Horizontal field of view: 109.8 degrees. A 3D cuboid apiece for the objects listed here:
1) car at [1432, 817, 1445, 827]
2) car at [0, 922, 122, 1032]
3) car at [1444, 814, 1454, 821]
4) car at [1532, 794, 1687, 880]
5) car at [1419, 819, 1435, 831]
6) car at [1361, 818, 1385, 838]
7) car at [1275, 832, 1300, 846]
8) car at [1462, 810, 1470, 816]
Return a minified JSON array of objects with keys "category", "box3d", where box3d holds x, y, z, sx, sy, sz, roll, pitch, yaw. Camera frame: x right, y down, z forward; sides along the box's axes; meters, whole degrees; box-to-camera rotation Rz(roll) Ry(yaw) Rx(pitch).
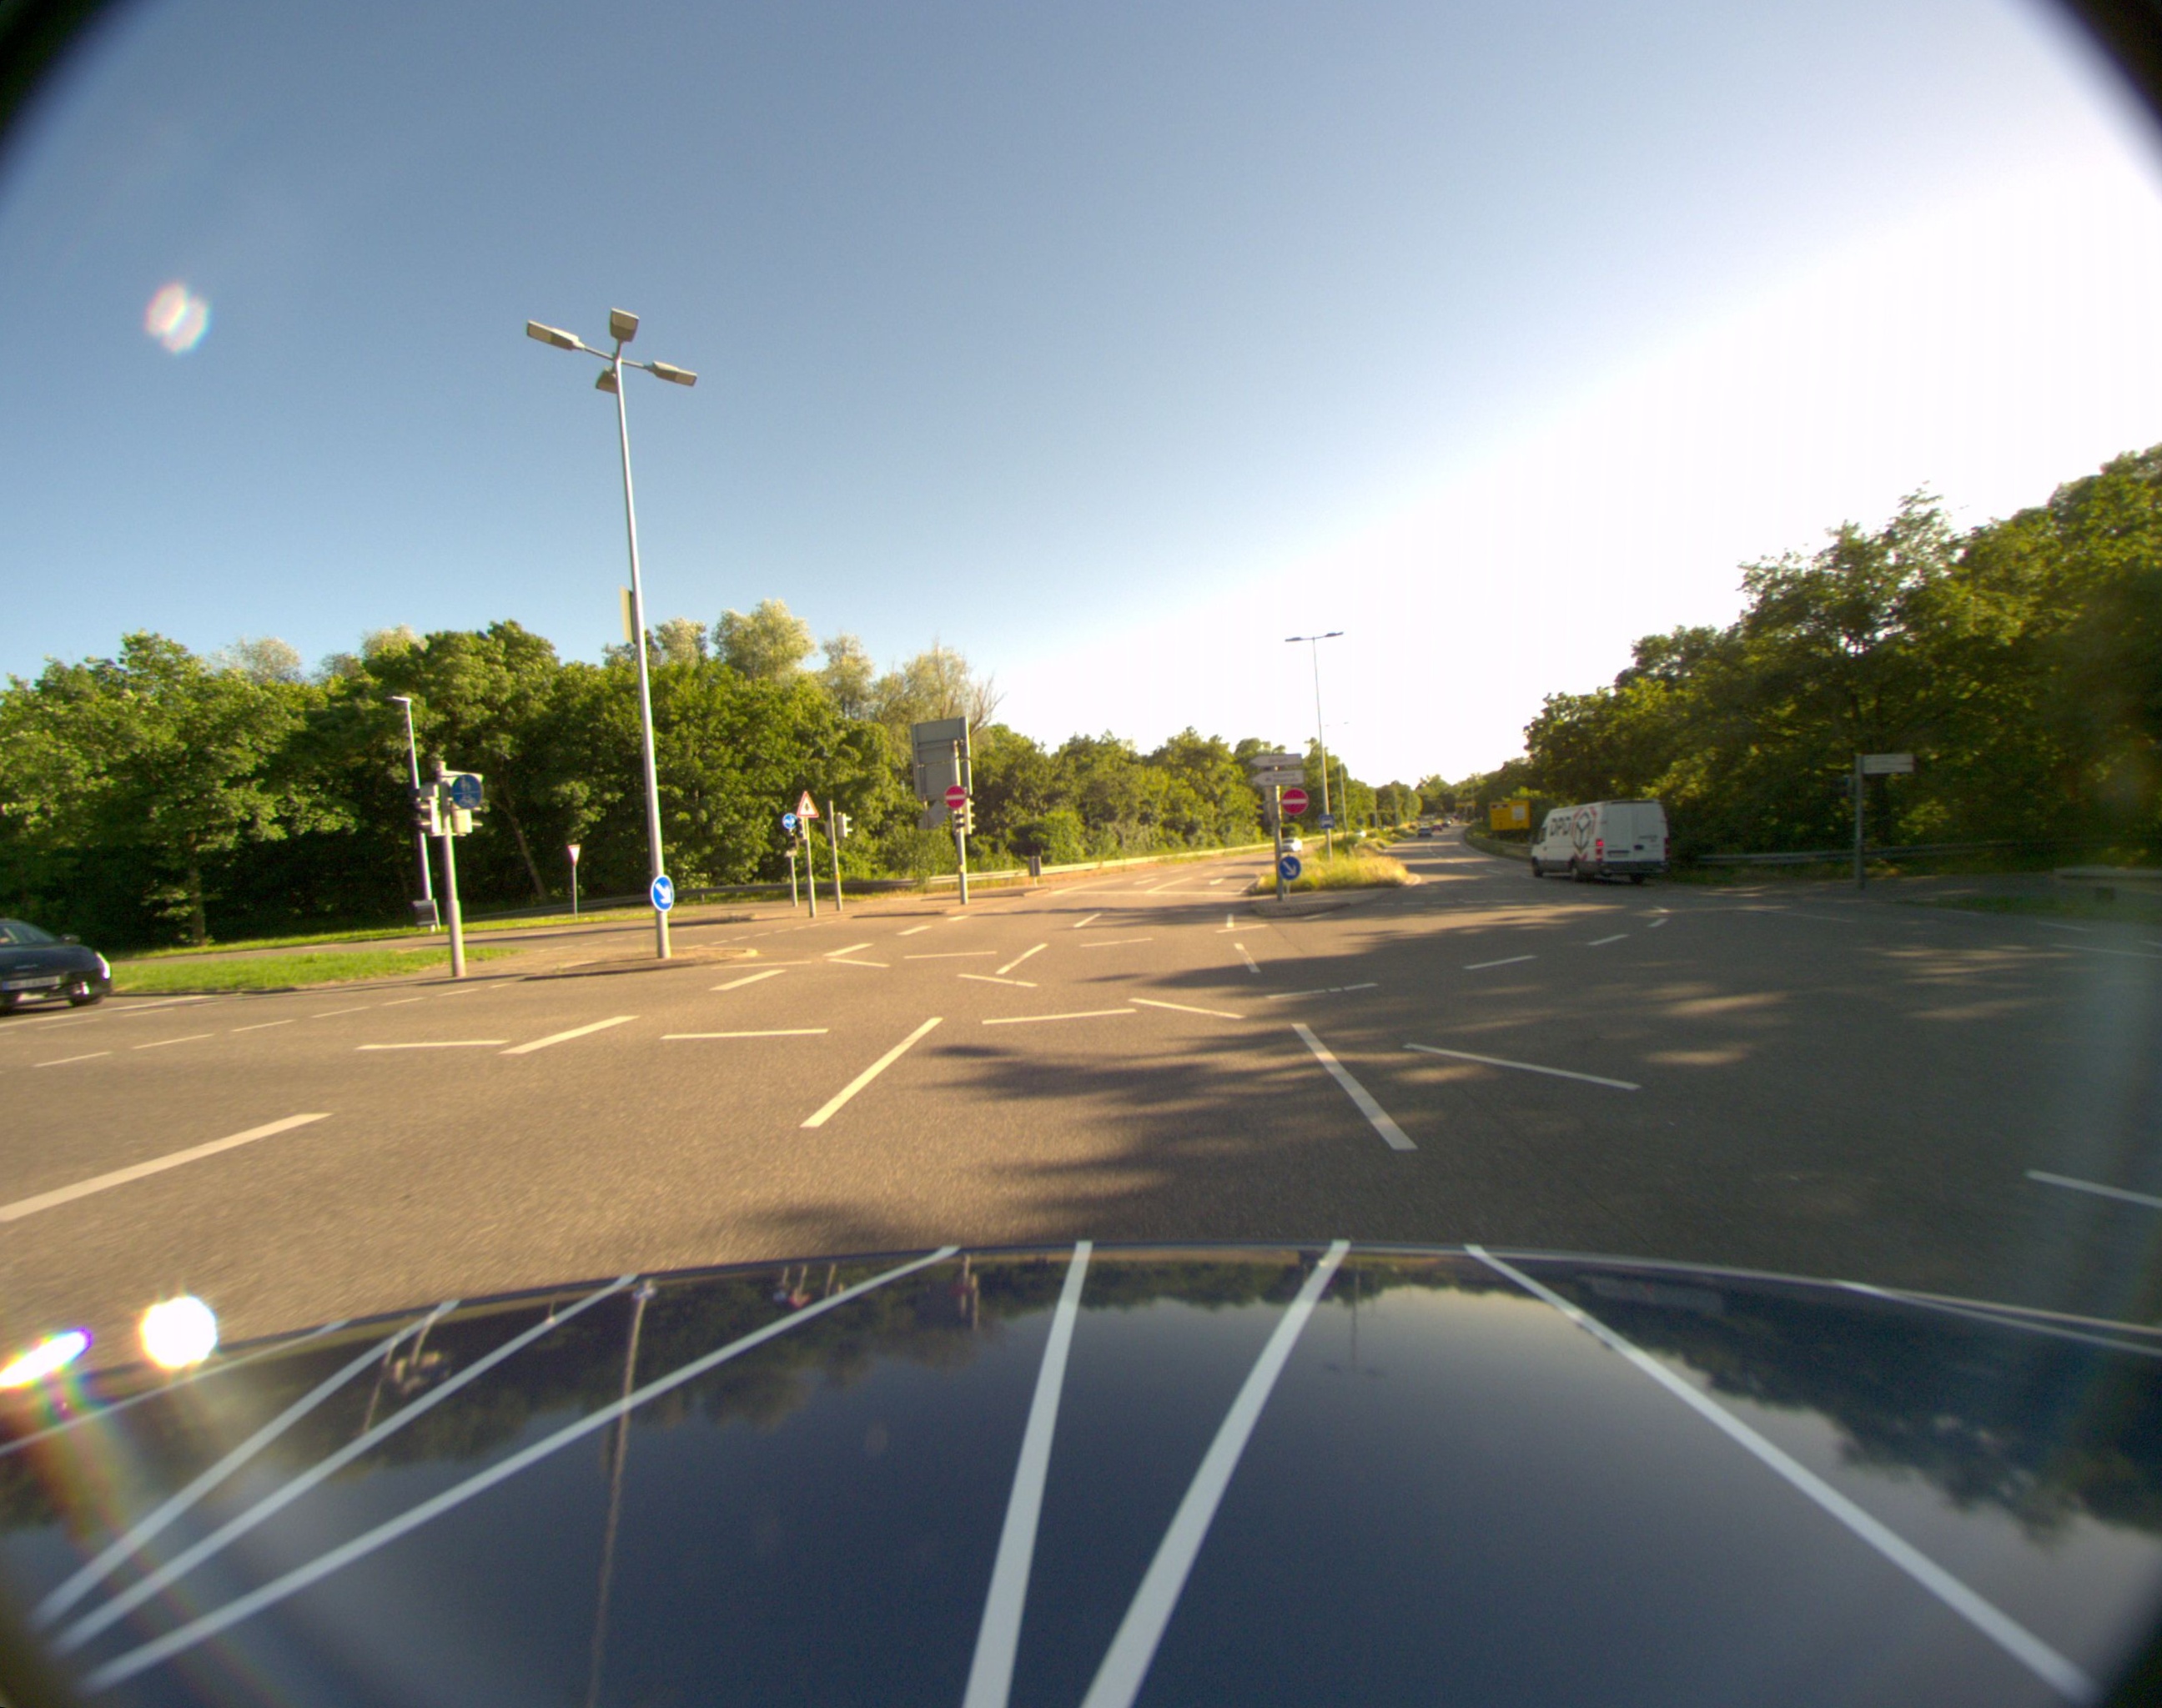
[{"category":"car","box3d":[67.298,-6.026,143.058,1.900,1.608,4.007,-2,1,29]},{"category":"car","box3d":[-17.028,1.842,11.458,4.080,1.431,1.771,-2,1,17]},{"category":"car","box3d":[91.036,-8.983,188.110,1.749,1.482,3.909,-2,1,33]},{"category":"car","box3d":[17.650,-0.544,25.872,2.267,2.538,6.403,-1,1,15]},{"category":"car","box3d":[49.316,-4.103,108.379,1.913,1.651,4.006,-2,1,23]},{"category":"car","box3d":[31.842,-2.813,82.771,1.995,2.002,4.006,-2,1,26]},{"category":"car","box3d":[21.591,-1.581,79.327,1.761,1.428,4.336,-2,1,24]},{"category":"car","box3d":[117.012,-12.452,230.834,1.749,1.482,3.909,-2,1,33]}]
